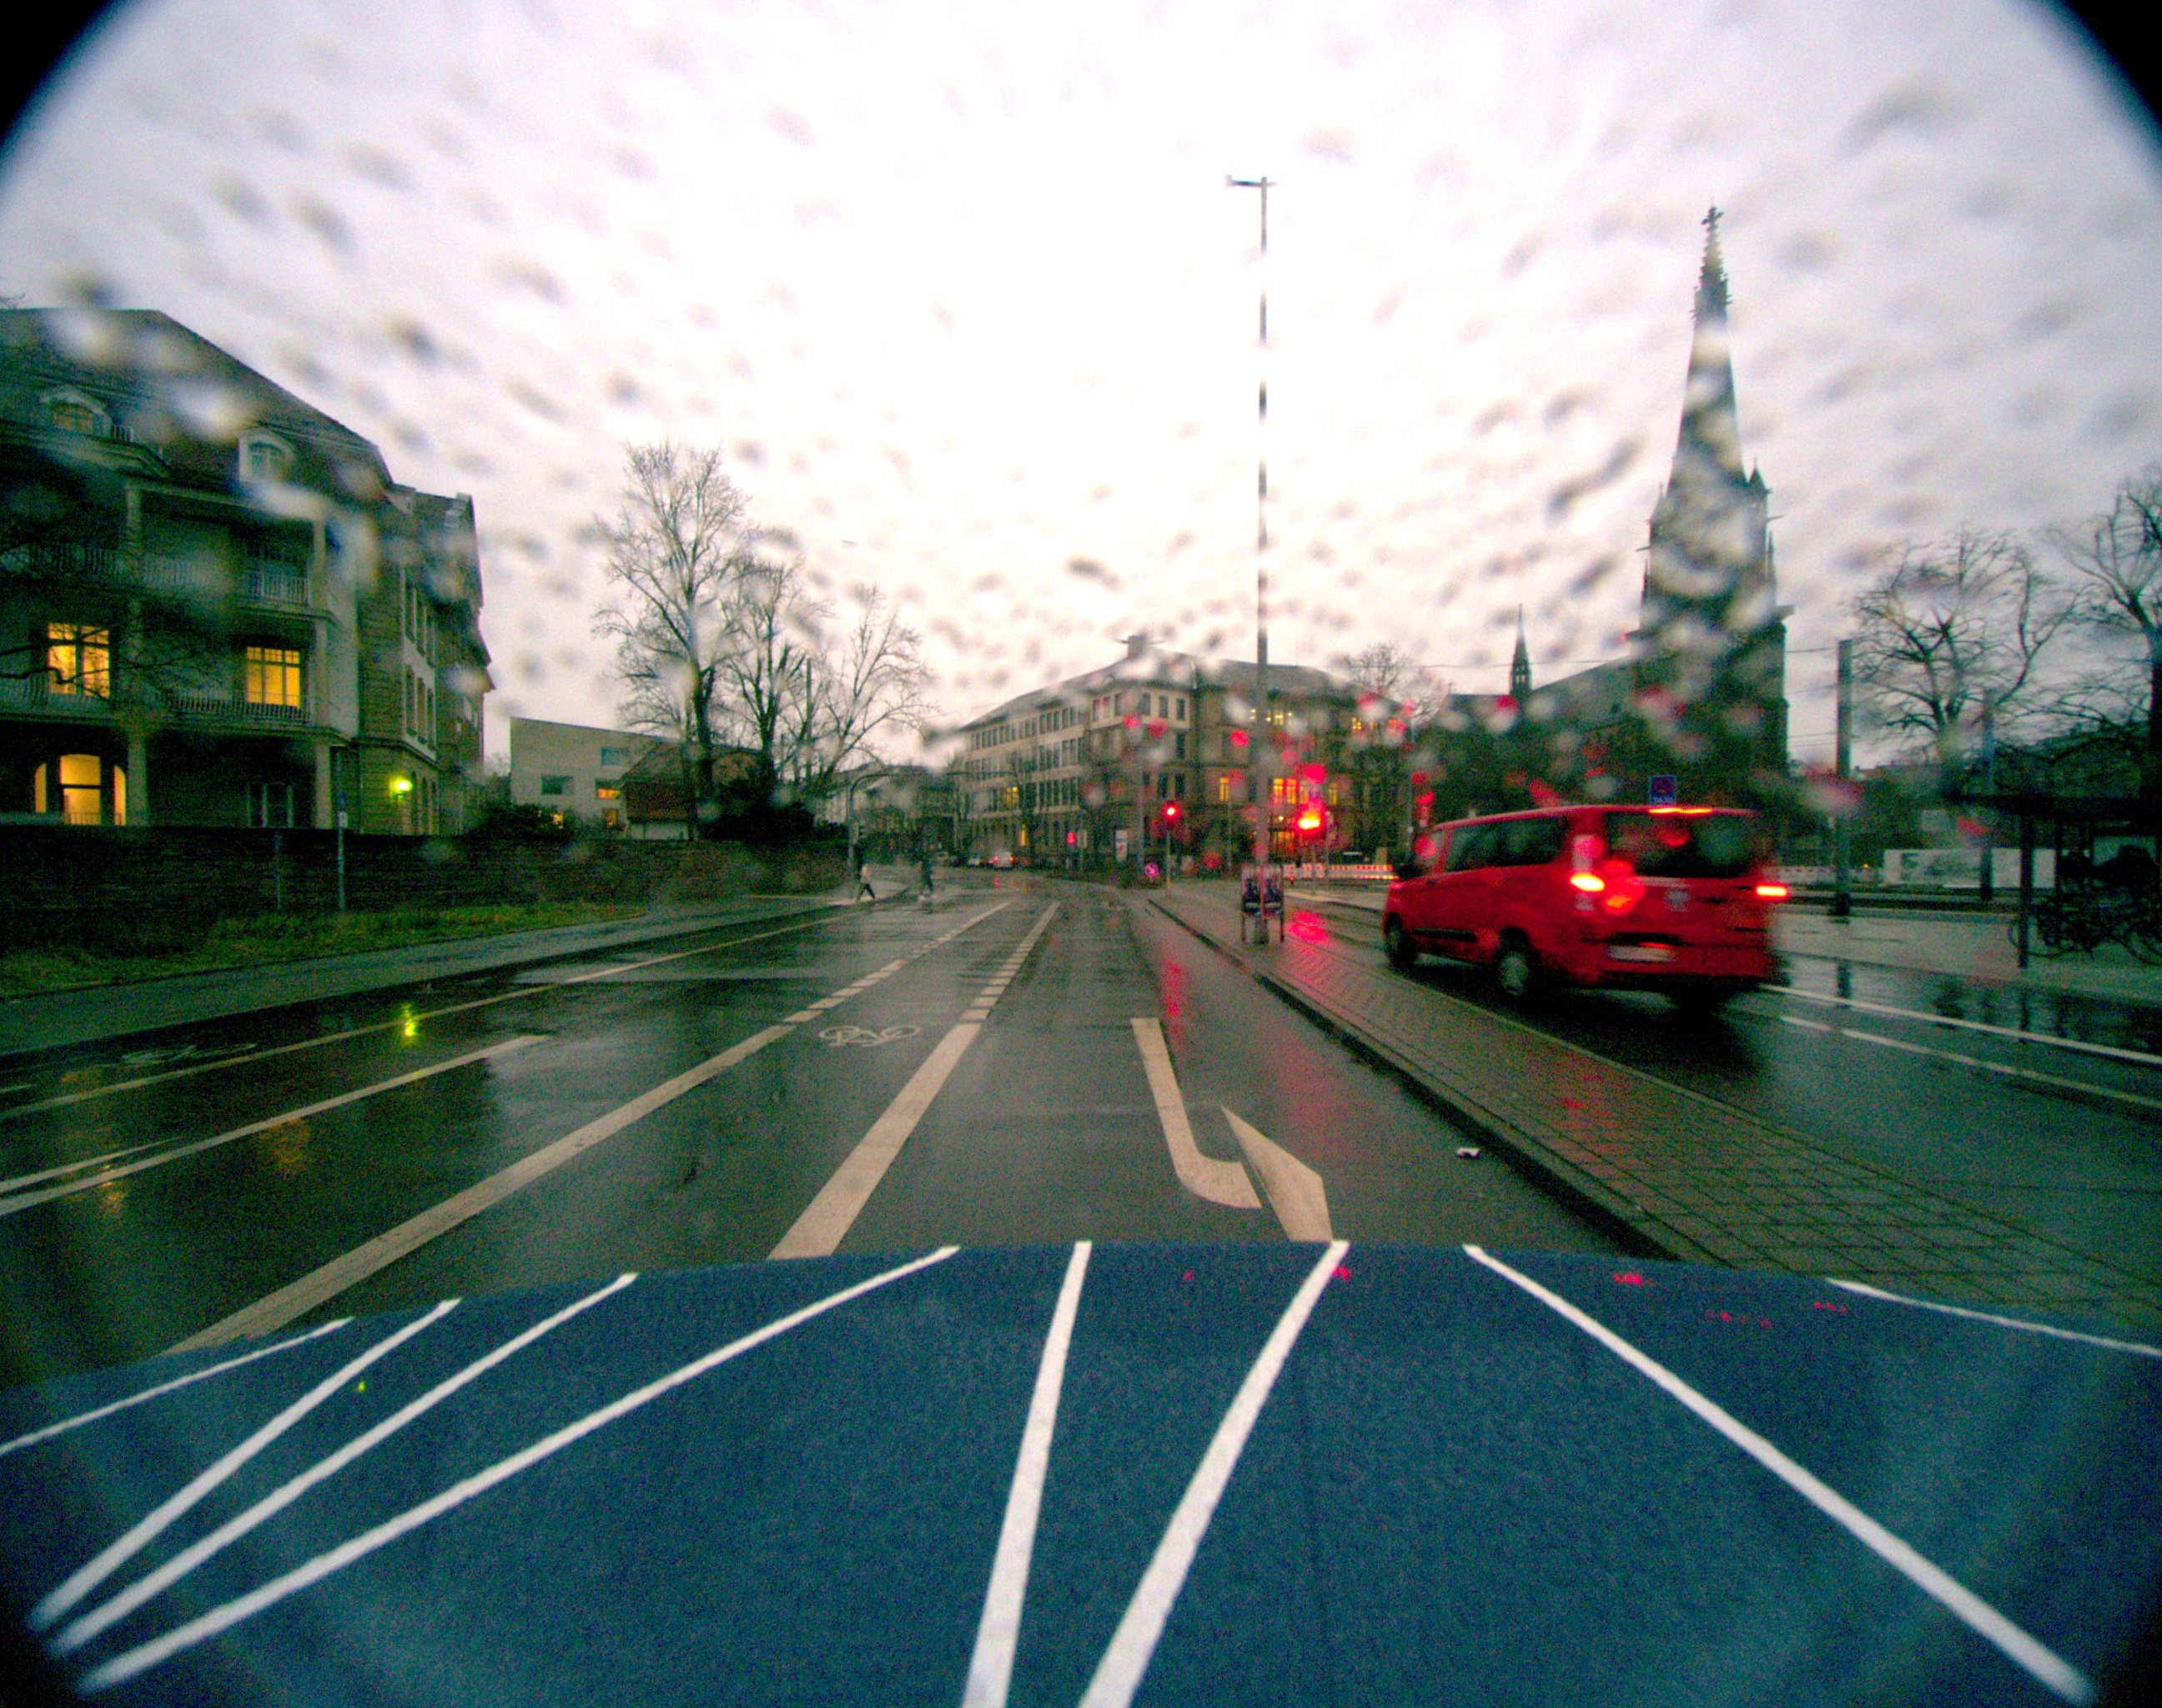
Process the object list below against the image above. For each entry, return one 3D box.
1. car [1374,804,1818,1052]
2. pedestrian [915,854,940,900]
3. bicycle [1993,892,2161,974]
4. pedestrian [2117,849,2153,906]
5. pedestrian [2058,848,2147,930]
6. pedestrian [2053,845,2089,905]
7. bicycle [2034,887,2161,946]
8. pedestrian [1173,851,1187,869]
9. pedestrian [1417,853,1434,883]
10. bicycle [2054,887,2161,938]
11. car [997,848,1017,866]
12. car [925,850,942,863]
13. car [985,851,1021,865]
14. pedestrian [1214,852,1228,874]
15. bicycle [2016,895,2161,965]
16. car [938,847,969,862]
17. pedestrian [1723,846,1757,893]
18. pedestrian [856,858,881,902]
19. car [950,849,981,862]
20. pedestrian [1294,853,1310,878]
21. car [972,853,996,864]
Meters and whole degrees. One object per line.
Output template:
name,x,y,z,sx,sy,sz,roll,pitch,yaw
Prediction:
car,5.224,0.623,8.715,1.928,2.058,4.644,1,0,0
pedestrian,-6.359,0.953,31.533,1.000,1.890,0.673,1,1,-9
bicycle,15.500,1.180,11.611,0.475,1.064,1.921,-2,2,-30
pedestrian,31.050,0.691,22.386,0.541,1.642,0.562,-3,2,-41
pedestrian,22.773,0.745,16.949,1.013,1.754,1.065,1,0,-30
pedestrian,30.237,0.642,23.215,0.673,1.785,0.626,-3,2,-41
bicycle,19.694,1.169,14.427,0.475,0.980,1.921,-2,2,-30
pedestrian,9.317,0.562,71.584,0.829,1.714,0.926,0,0,-37
pedestrian,19.898,0.793,43.882,0.771,1.651,1.210,-2,1,28
bicycle,20.849,1.161,15.017,0.475,0.905,1.921,-2,2,-30
car,-8.053,0.336,82.668,1.884,1.835,3.996,-2,1,-9
car,-20.733,0.374,106.847,2.000,1.660,3.997,-2,1,-7
car,-9.277,0.483,90.536,1.797,1.541,4.007,-1,1,45
pedestrian,11.688,0.772,63.234,0.675,1.806,0.895,0,2,-42
bicycle,16.619,1.214,12.216,0.475,0.980,1.921,-2,2,-30
car,-16.993,0.078,101.472,2.043,1.889,4.007,-2,1,28
pedestrian,25.316,0.589,29.172,0.671,1.785,0.825,-3,1,-35
pedestrian,-8.387,1.018,29.995,0.798,1.713,0.674,1,1,0
car,-15.088,0.203,99.406,1.797,1.541,4.007,-2,1,28
pedestrian,16.811,0.860,57.794,0.675,1.890,0.971,0,2,-42
car,-12.131,0.577,95.308,1.706,1.298,3.647,-2,1,16
